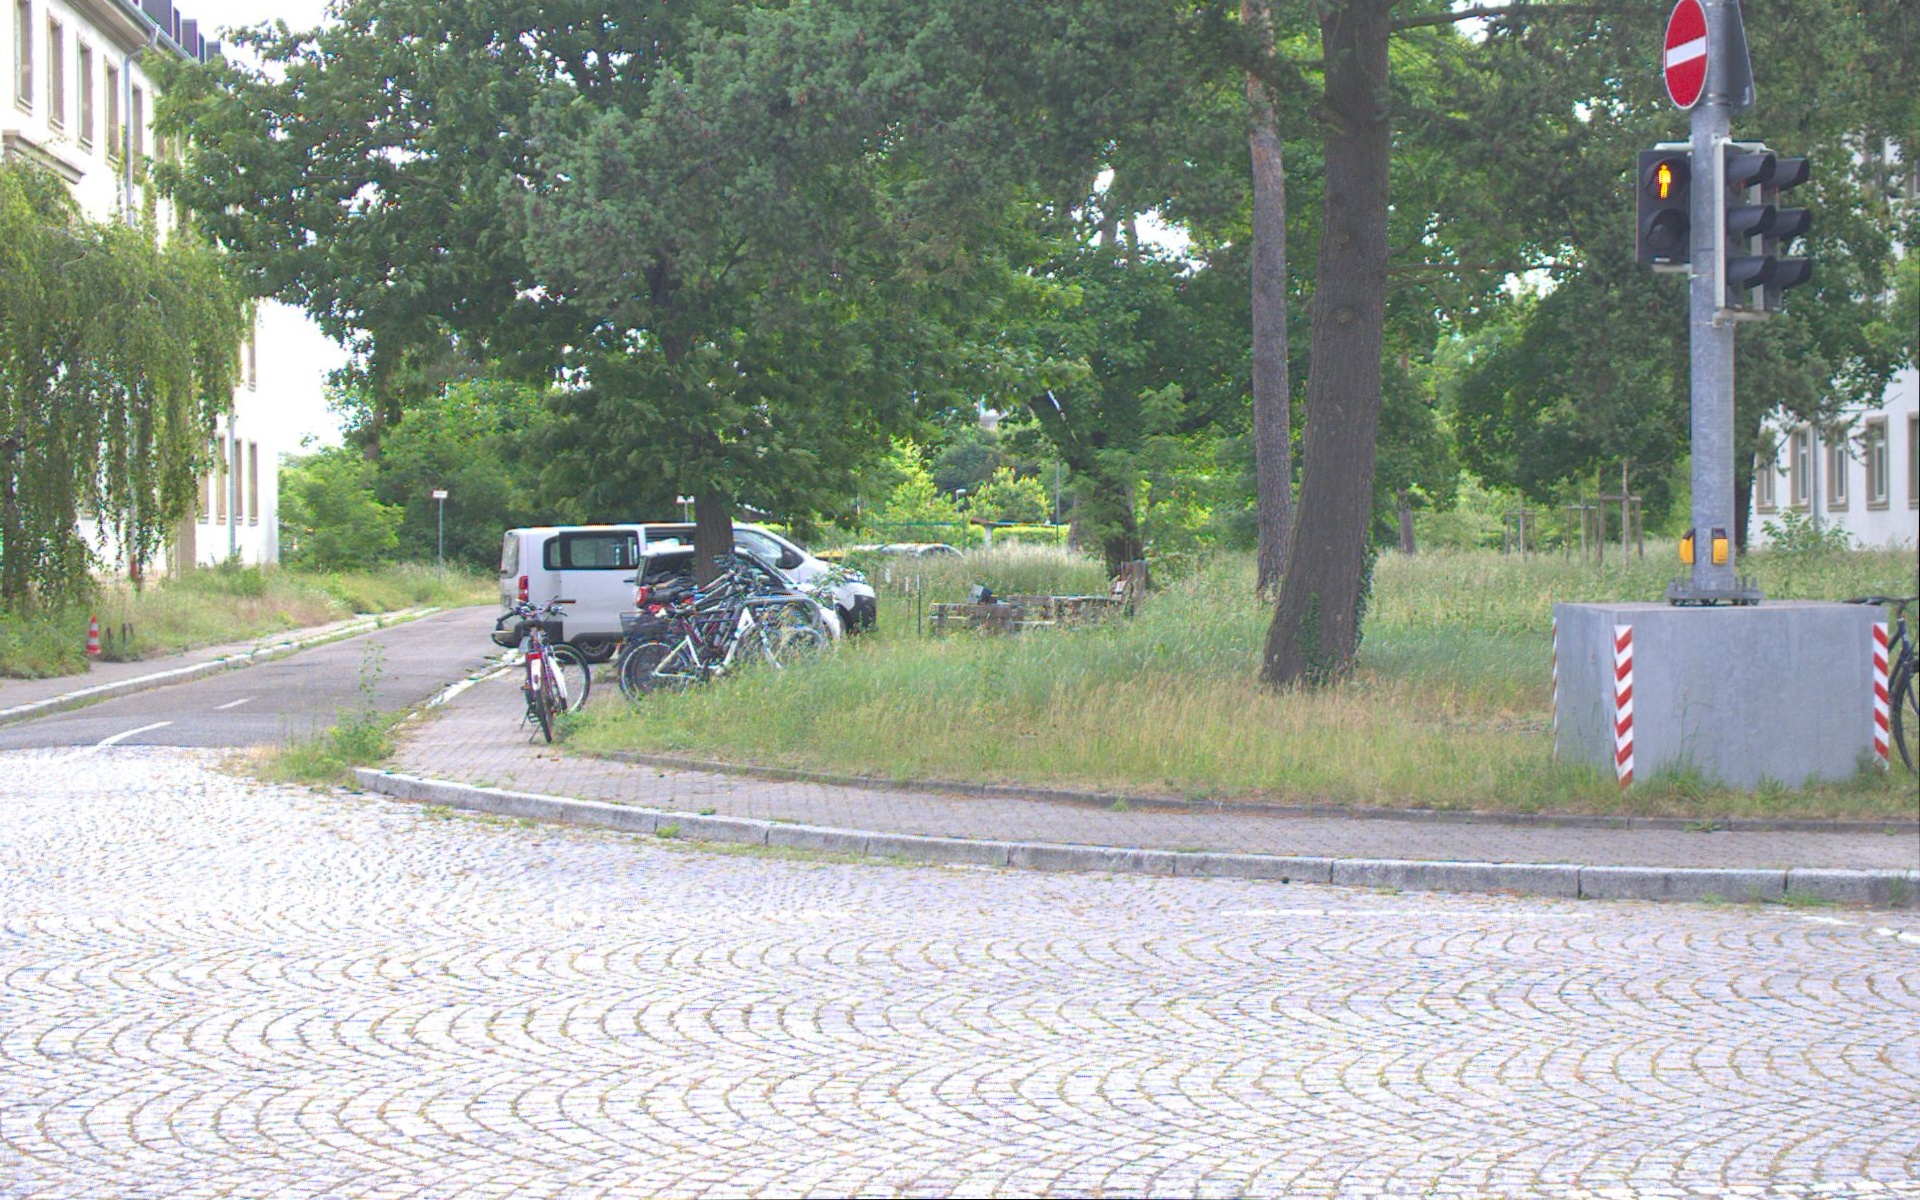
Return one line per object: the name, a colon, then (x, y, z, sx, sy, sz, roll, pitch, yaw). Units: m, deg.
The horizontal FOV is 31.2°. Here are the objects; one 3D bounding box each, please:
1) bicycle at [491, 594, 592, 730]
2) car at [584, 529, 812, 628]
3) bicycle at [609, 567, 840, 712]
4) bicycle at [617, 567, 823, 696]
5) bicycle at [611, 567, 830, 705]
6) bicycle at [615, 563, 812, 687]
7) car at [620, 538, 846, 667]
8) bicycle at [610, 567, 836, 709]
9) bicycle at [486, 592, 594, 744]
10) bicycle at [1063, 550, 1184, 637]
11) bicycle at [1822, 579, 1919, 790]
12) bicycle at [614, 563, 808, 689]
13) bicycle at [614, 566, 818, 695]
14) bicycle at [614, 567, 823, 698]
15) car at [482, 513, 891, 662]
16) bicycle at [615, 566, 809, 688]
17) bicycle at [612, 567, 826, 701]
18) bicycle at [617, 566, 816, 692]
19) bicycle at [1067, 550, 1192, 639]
bicycle: (-3.457, 0.496, 28.508, 0.622, 1.079, 1.678, 0, 1, 0)
car: (-4.721, -0.393, 61.903, 4.031, 1.712, 1.681, -1, 1, -5)
bicycle: (-2.063, 0.344, 30.018, 1.982, 1.243, 0.624, 0, 0, -5)
bicycle: (-2.353, 0.303, 33.581, 1.982, 1.243, 0.624, 0, 0, -5)
bicycle: (-2.207, 0.326, 31.568, 1.982, 1.243, 0.624, 0, 0, -5)
bicycle: (-2.524, 0.253, 35.164, 1.982, 1.243, 0.624, 0, 0, -5)
car: (-2.944, 0.015, 44.617, 2.847, 1.552, 1.472, -1, 2, -4)
bicycle: (-2.116, 0.337, 30.645, 1.982, 1.243, 0.624, 0, 0, -5)
bicycle: (-3.228, 0.503, 26.564, 0.622, 1.110, 1.989, 0, 1, -1)
bicycle: (2.138, -0.092, 45.104, 1.549, 1.121, 0.401, -1, 1, -2)
bicycle: (5.034, 0.417, 18.017, 0.580, 0.967, 1.678, -2, 3, 0)
bicycle: (-2.637, 0.270, 36.314, 1.982, 1.243, 0.624, -2, 1, -5)
bicycle: (-2.418, 0.298, 33.991, 1.982, 1.243, 0.624, 0, 0, -5)
bicycle: (-2.325, 0.309, 33.056, 1.982, 1.243, 0.624, 0, 0, -5)
car: (-3.834, -0.207, 48.041, 5.303, 1.909, 2.150, -2, 1, -18)
bicycle: (-2.582, 0.278, 35.656, 1.982, 1.243, 0.624, 0, 0, -5)
bicycle: (-2.279, 0.316, 32.425, 1.982, 1.243, 0.624, 0, 0, -5)
bicycle: (-2.459, 0.290, 34.655, 1.982, 1.243, 0.624, 0, 0, -5)
bicycle: (2.163, -0.075, 43.872, 1.549, 1.121, 0.401, -1, 1, -2)
